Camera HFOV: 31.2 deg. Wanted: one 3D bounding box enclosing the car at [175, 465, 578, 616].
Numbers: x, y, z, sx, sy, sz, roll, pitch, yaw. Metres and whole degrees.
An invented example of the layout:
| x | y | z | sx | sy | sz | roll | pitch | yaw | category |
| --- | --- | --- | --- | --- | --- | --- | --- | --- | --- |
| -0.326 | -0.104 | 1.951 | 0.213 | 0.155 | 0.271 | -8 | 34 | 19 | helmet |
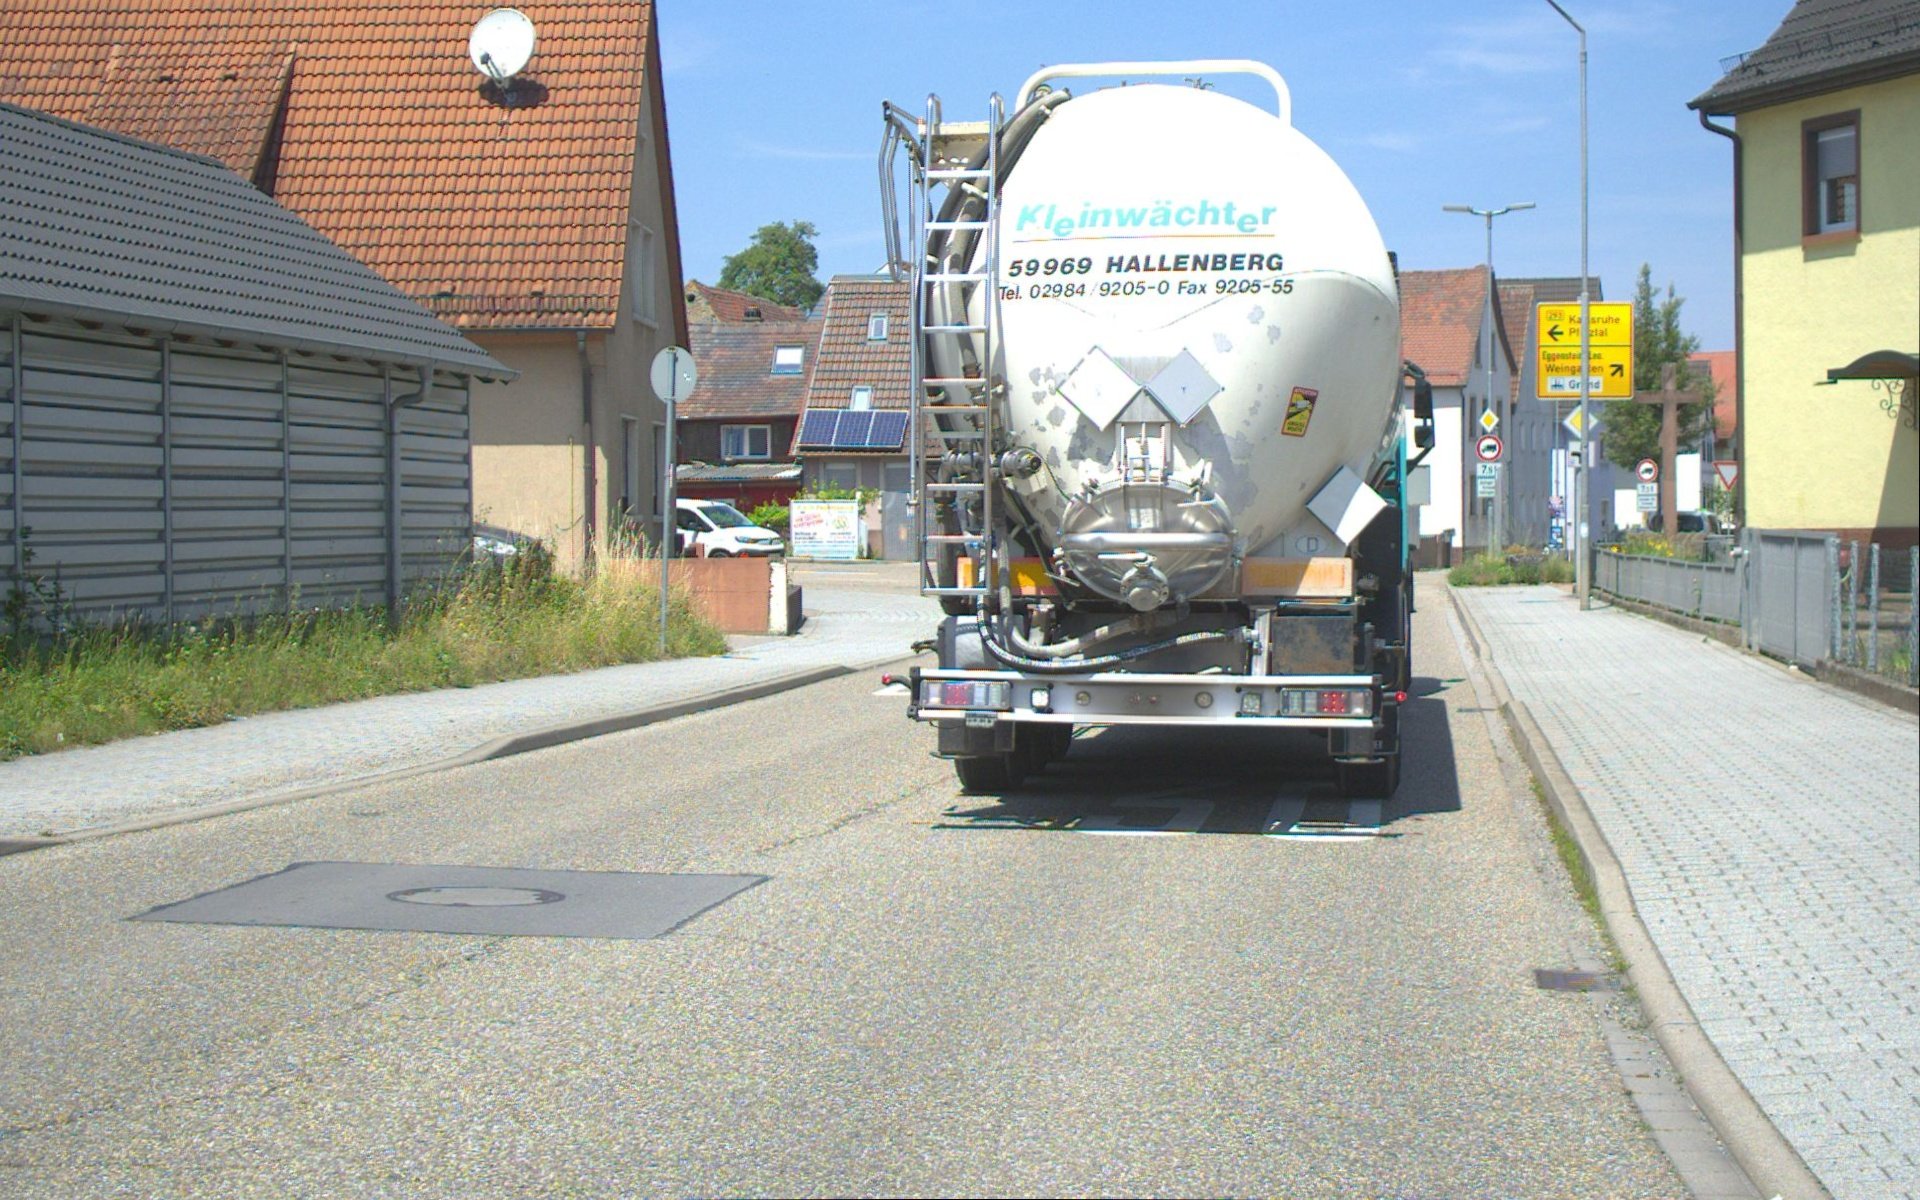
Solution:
| x | y | z | sx | sy | sz | roll | pitch | yaw | category |
| --- | --- | --- | --- | --- | --- | --- | --- | --- | --- |
| -6.628 | -0.678 | 39.235 | 4.126 | 1.632 | 1.865 | -1 | 1 | 9 | car |

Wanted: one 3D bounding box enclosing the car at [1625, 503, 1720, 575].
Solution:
| x | y | z | sx | sy | sz | roll | pitch | yaw | category |
| --- | --- | --- | --- | --- | --- | --- | --- | --- | --- |
| 20.299 | -1.723 | 97.825 | 1.995 | 1.905 | 4.320 | 1 | 0 | 20 | car |

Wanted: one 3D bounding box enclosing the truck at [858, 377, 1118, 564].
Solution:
| x | y | z | sx | sy | sz | roll | pitch | yaw | category |
| --- | --- | --- | --- | --- | --- | --- | --- | --- | --- |
| 0.634 | -3.106 | 83.937 | 3.106 | 4.386 | 5.932 | 0 | 1 | -43 | truck |

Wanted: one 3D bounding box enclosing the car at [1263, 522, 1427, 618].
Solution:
| x | y | z | sx | sy | sz | roll | pitch | yaw | category |
| --- | --- | --- | --- | --- | --- | --- | --- | --- | --- |
| 6.108 | -0.494 | 54.971 | 1.842 | 1.481 | 4.001 | 0 | 1 | -5 | car |

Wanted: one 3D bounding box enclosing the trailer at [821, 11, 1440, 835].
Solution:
| x | y | z | sx | sy | sz | roll | pitch | yaw | category |
| --- | --- | --- | --- | --- | --- | --- | --- | --- | --- |
| 1.461 | -0.940 | 22.373 | 2.953 | 3.934 | 11.616 | 1 | 1 | 6 | trailer |

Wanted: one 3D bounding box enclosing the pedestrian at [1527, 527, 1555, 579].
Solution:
| x | y | z | sx | sy | sz | roll | pitch | yaw | category |
| --- | --- | --- | --- | --- | --- | --- | --- | --- | --- |
| 22.472 | -1.818 | 132.891 | 0.770 | 2.007 | 0.975 | 1 | 1 | 28 | pedestrian |

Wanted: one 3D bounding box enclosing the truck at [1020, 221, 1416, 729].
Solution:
| x | y | z | sx | sy | sz | roll | pitch | yaw | category |
| --- | --- | --- | --- | --- | --- | --- | --- | --- | --- |
| 2.376 | -1.026 | 29.760 | 2.989 | 3.951 | 5.577 | 1 | 1 | 8 | truck |

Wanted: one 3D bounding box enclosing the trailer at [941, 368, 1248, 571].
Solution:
| x | y | z | sx | sy | sz | roll | pitch | yaw | category |
| --- | --- | --- | --- | --- | --- | --- | --- | --- | --- |
| 2.840 | -2.869 | 79.096 | 3.131 | 4.262 | 12.499 | 0 | 1 | -17 | trailer |

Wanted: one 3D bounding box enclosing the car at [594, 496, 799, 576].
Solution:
| x | y | z | sx | sy | sz | roll | pitch | yaw | category |
| --- | --- | --- | --- | --- | --- | --- | --- | --- | --- |
| -6.174 | -1.521 | 80.447 | 4.514 | 1.779 | 1.877 | 2 | 3 | 29 | car |
